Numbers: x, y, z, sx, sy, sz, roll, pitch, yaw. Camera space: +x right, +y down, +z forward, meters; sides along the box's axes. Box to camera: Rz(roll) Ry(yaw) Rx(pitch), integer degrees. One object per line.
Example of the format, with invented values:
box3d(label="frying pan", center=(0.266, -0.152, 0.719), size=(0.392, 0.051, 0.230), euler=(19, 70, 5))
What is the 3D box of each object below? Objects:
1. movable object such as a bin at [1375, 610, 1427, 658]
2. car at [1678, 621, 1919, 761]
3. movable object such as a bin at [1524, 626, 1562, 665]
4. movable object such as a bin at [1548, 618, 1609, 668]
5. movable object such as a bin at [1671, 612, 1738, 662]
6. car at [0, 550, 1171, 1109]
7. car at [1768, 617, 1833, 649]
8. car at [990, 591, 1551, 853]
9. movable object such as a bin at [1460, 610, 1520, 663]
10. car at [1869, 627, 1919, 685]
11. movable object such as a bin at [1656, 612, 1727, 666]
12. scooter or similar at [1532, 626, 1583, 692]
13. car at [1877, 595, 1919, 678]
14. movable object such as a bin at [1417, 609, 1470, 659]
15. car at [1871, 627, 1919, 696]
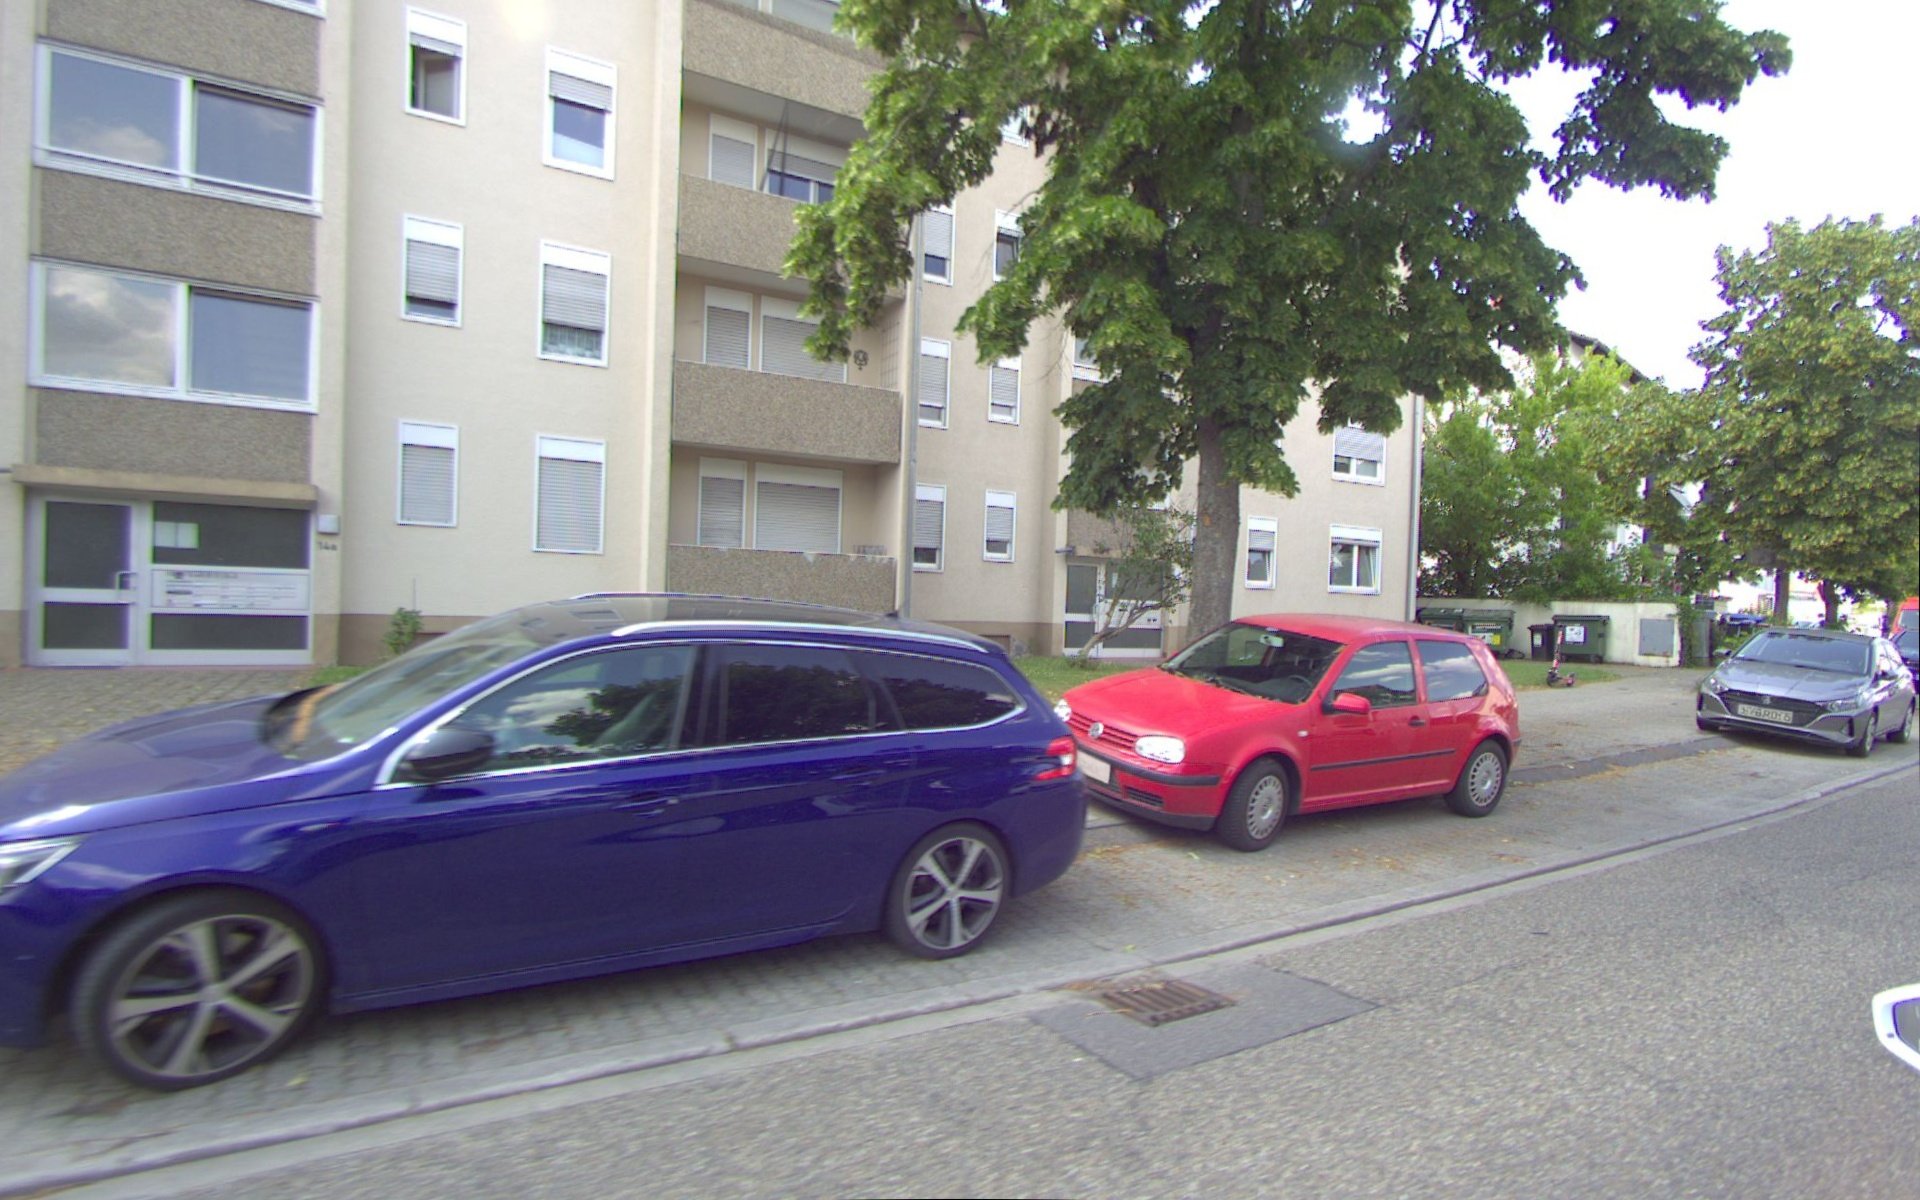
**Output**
box3d(label="movable object such as a bin", center=(14.112, 1.064, 32.132), size=(0.922, 1.457, 1.233), euler=(-3, 2, -40))
box3d(label="car", center=(11.537, 1.112, 13.658), size=(4.306, 1.509, 1.746), euler=(2, 2, -39))
box3d(label="movable object such as a bin", center=(16.692, 1.292, 28.754), size=(0.868, 1.038, 0.621), euler=(-2, 2, -32))
box3d(label="movable object such as a bin", center=(17.185, 1.176, 27.937), size=(0.868, 1.292, 1.186), euler=(-2, 2, -31))
box3d(label="movable object such as a bin", center=(23.912, 1.180, 32.266), size=(1.812, 1.524, 1.342), euler=(1, 0, -41))
box3d(label="car", center=(-1.368, 0.698, 4.539), size=(4.519, 1.509, 1.751), euler=(3, 1, -31))
box3d(label="car", center=(46.724, 1.864, 55.812), size=(4.397, 1.477, 1.773), euler=(3, 4, -38))
box3d(label="car", center=(2.450, 0.784, 7.747), size=(4.043, 1.458, 1.828), euler=(2, 3, -30))
box3d(label="movable object such as a bin", center=(15.591, 1.056, 29.557), size=(1.361, 1.457, 1.184), euler=(-3, 2, -43))
box3d(label="car", center=(27.882, 1.653, 29.106), size=(4.403, 1.477, 1.770), euler=(2, 4, -42))
box3d(label="movable object such as a bin", center=(22.049, 1.147, 30.254), size=(1.812, 1.524, 1.342), euler=(1, 0, -41))
box3d(label="scooter or similar", center=(11.213, 1.088, 18.846), size=(1.131, 1.181, 0.415), euler=(1, 2, -40))
box3d(label="car", center=(32.351, 1.249, 33.391), size=(5.797, 2.534, 2.045), euler=(2, 5, -42))
box3d(label="movable object such as a bin", center=(14.974, 1.047, 31.126), size=(0.922, 1.457, 1.233), euler=(-3, 2, -40))
box3d(label="car", center=(23.480, 1.515, 24.384), size=(1.768, 1.477, 4.409), euler=(8, 4, 44))
